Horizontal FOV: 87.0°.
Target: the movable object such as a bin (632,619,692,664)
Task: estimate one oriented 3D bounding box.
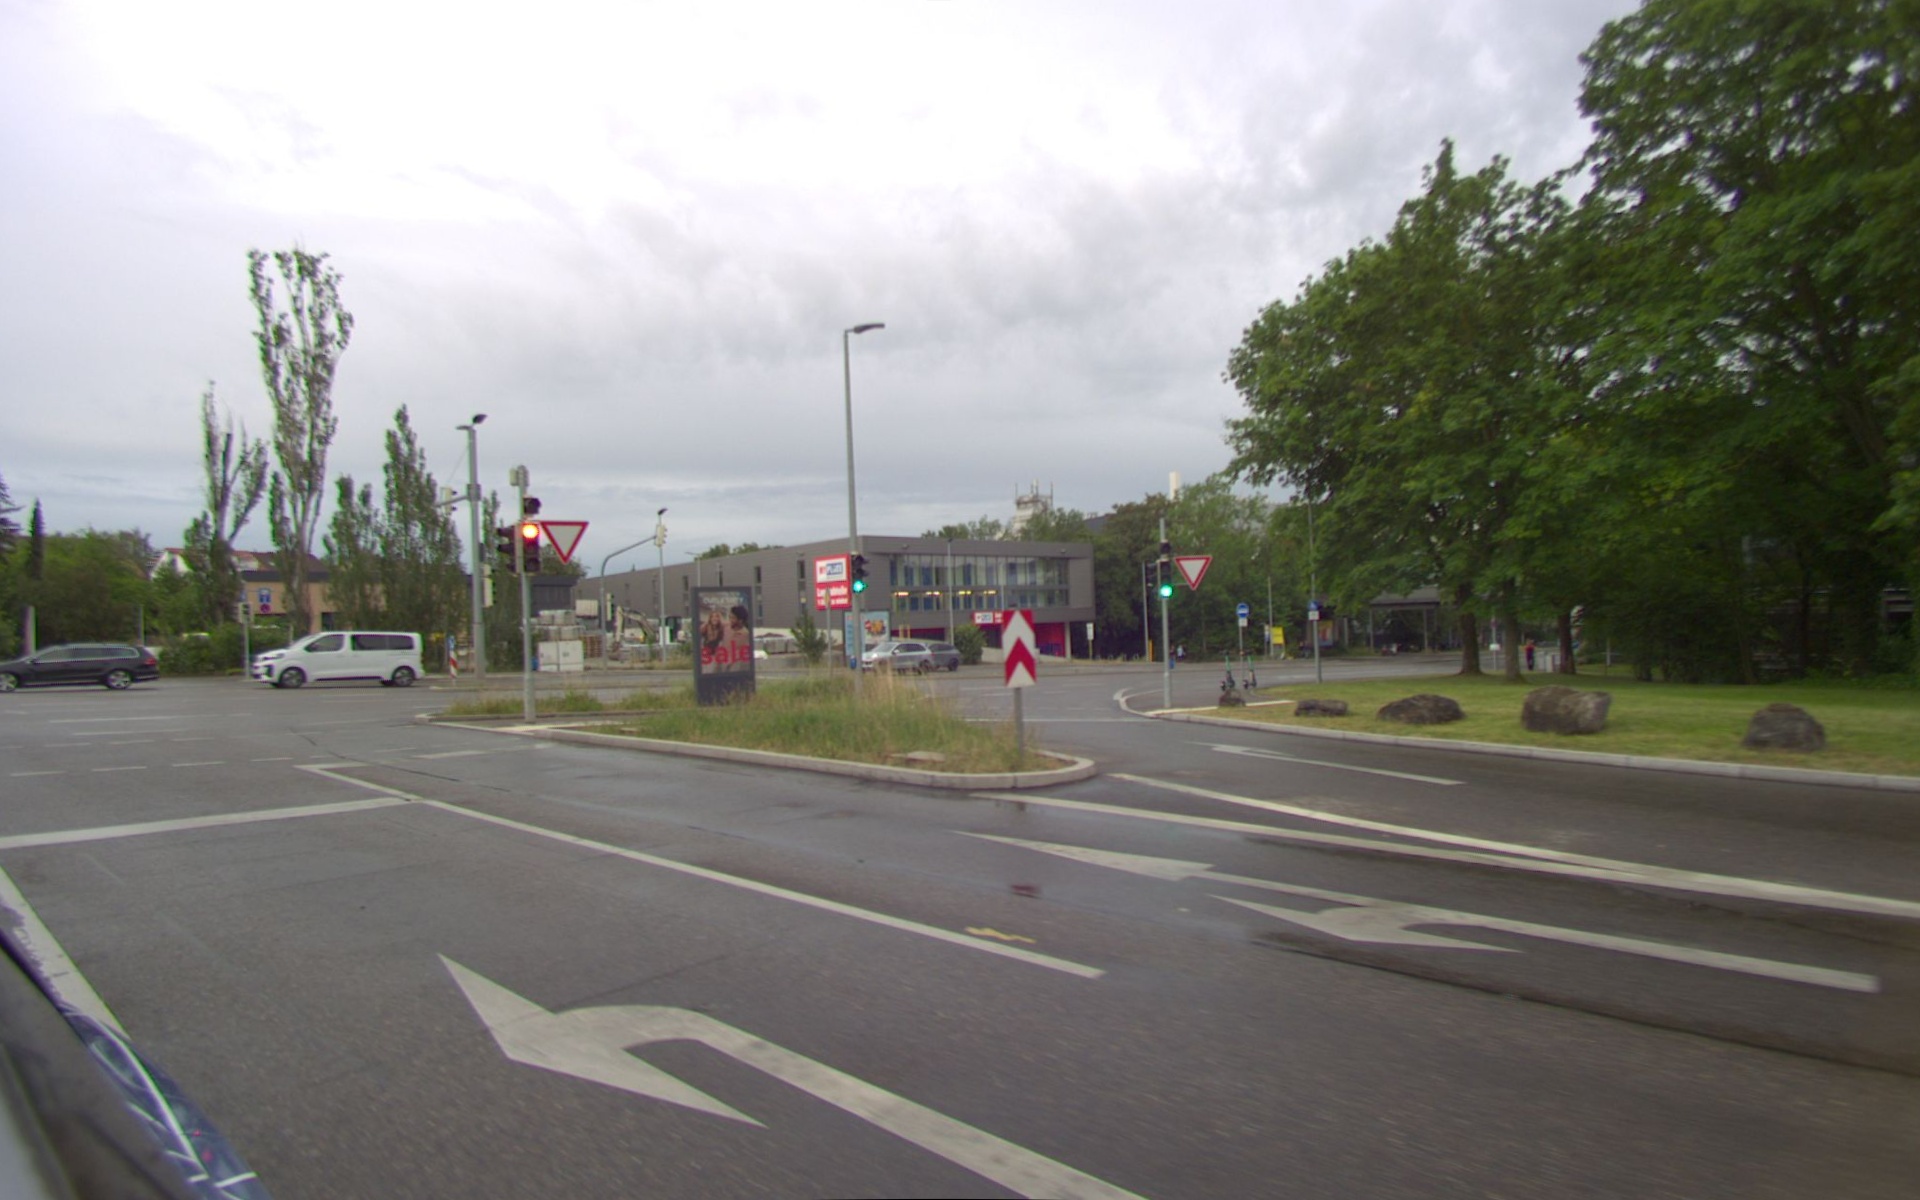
[{"bbox_3d":[-18.118,2.563,61.615,1.926,2.647,2.959,-3,-5,39],"label":"movable object such as a bin"}]

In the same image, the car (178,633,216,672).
[{"bbox_3d":[-48.022,3.347,63.674,1.719,2.333,5.231,3,-5,-39],"label":"car"}]

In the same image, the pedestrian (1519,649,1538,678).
[{"bbox_3d":[32.418,3.604,57.716,0.737,1.642,0.709,-1,-3,16],"label":"pedestrian"}]

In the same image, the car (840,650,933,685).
[{"bbox_3d":[-3.677,3.384,51.145,4.556,1.716,1.841,3,-5,-44],"label":"car"}]

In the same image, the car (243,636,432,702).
[{"bbox_3d":[-20.847,2.296,34.086,1.841,2.050,5.118,-4,-5,44],"label":"car"}]

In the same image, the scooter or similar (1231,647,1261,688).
[{"bbox_3d":[9.056,2.132,32.028,0.515,1.269,1.212,-3,-4,33],"label":"scooter or similar"}]

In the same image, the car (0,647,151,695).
[{"bbox_3d":[-28.175,2.209,31.543,1.841,1.415,4.417,-4,-5,45],"label":"car"}]

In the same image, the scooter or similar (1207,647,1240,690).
[{"bbox_3d":[8.077,2.097,30.961,0.548,1.269,1.341,-3,-4,33],"label":"scooter or similar"}]

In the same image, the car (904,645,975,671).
[{"bbox_3d":[-1.180,3.357,58.694,1.841,1.415,3.983,-4,-5,45],"label":"car"}]
